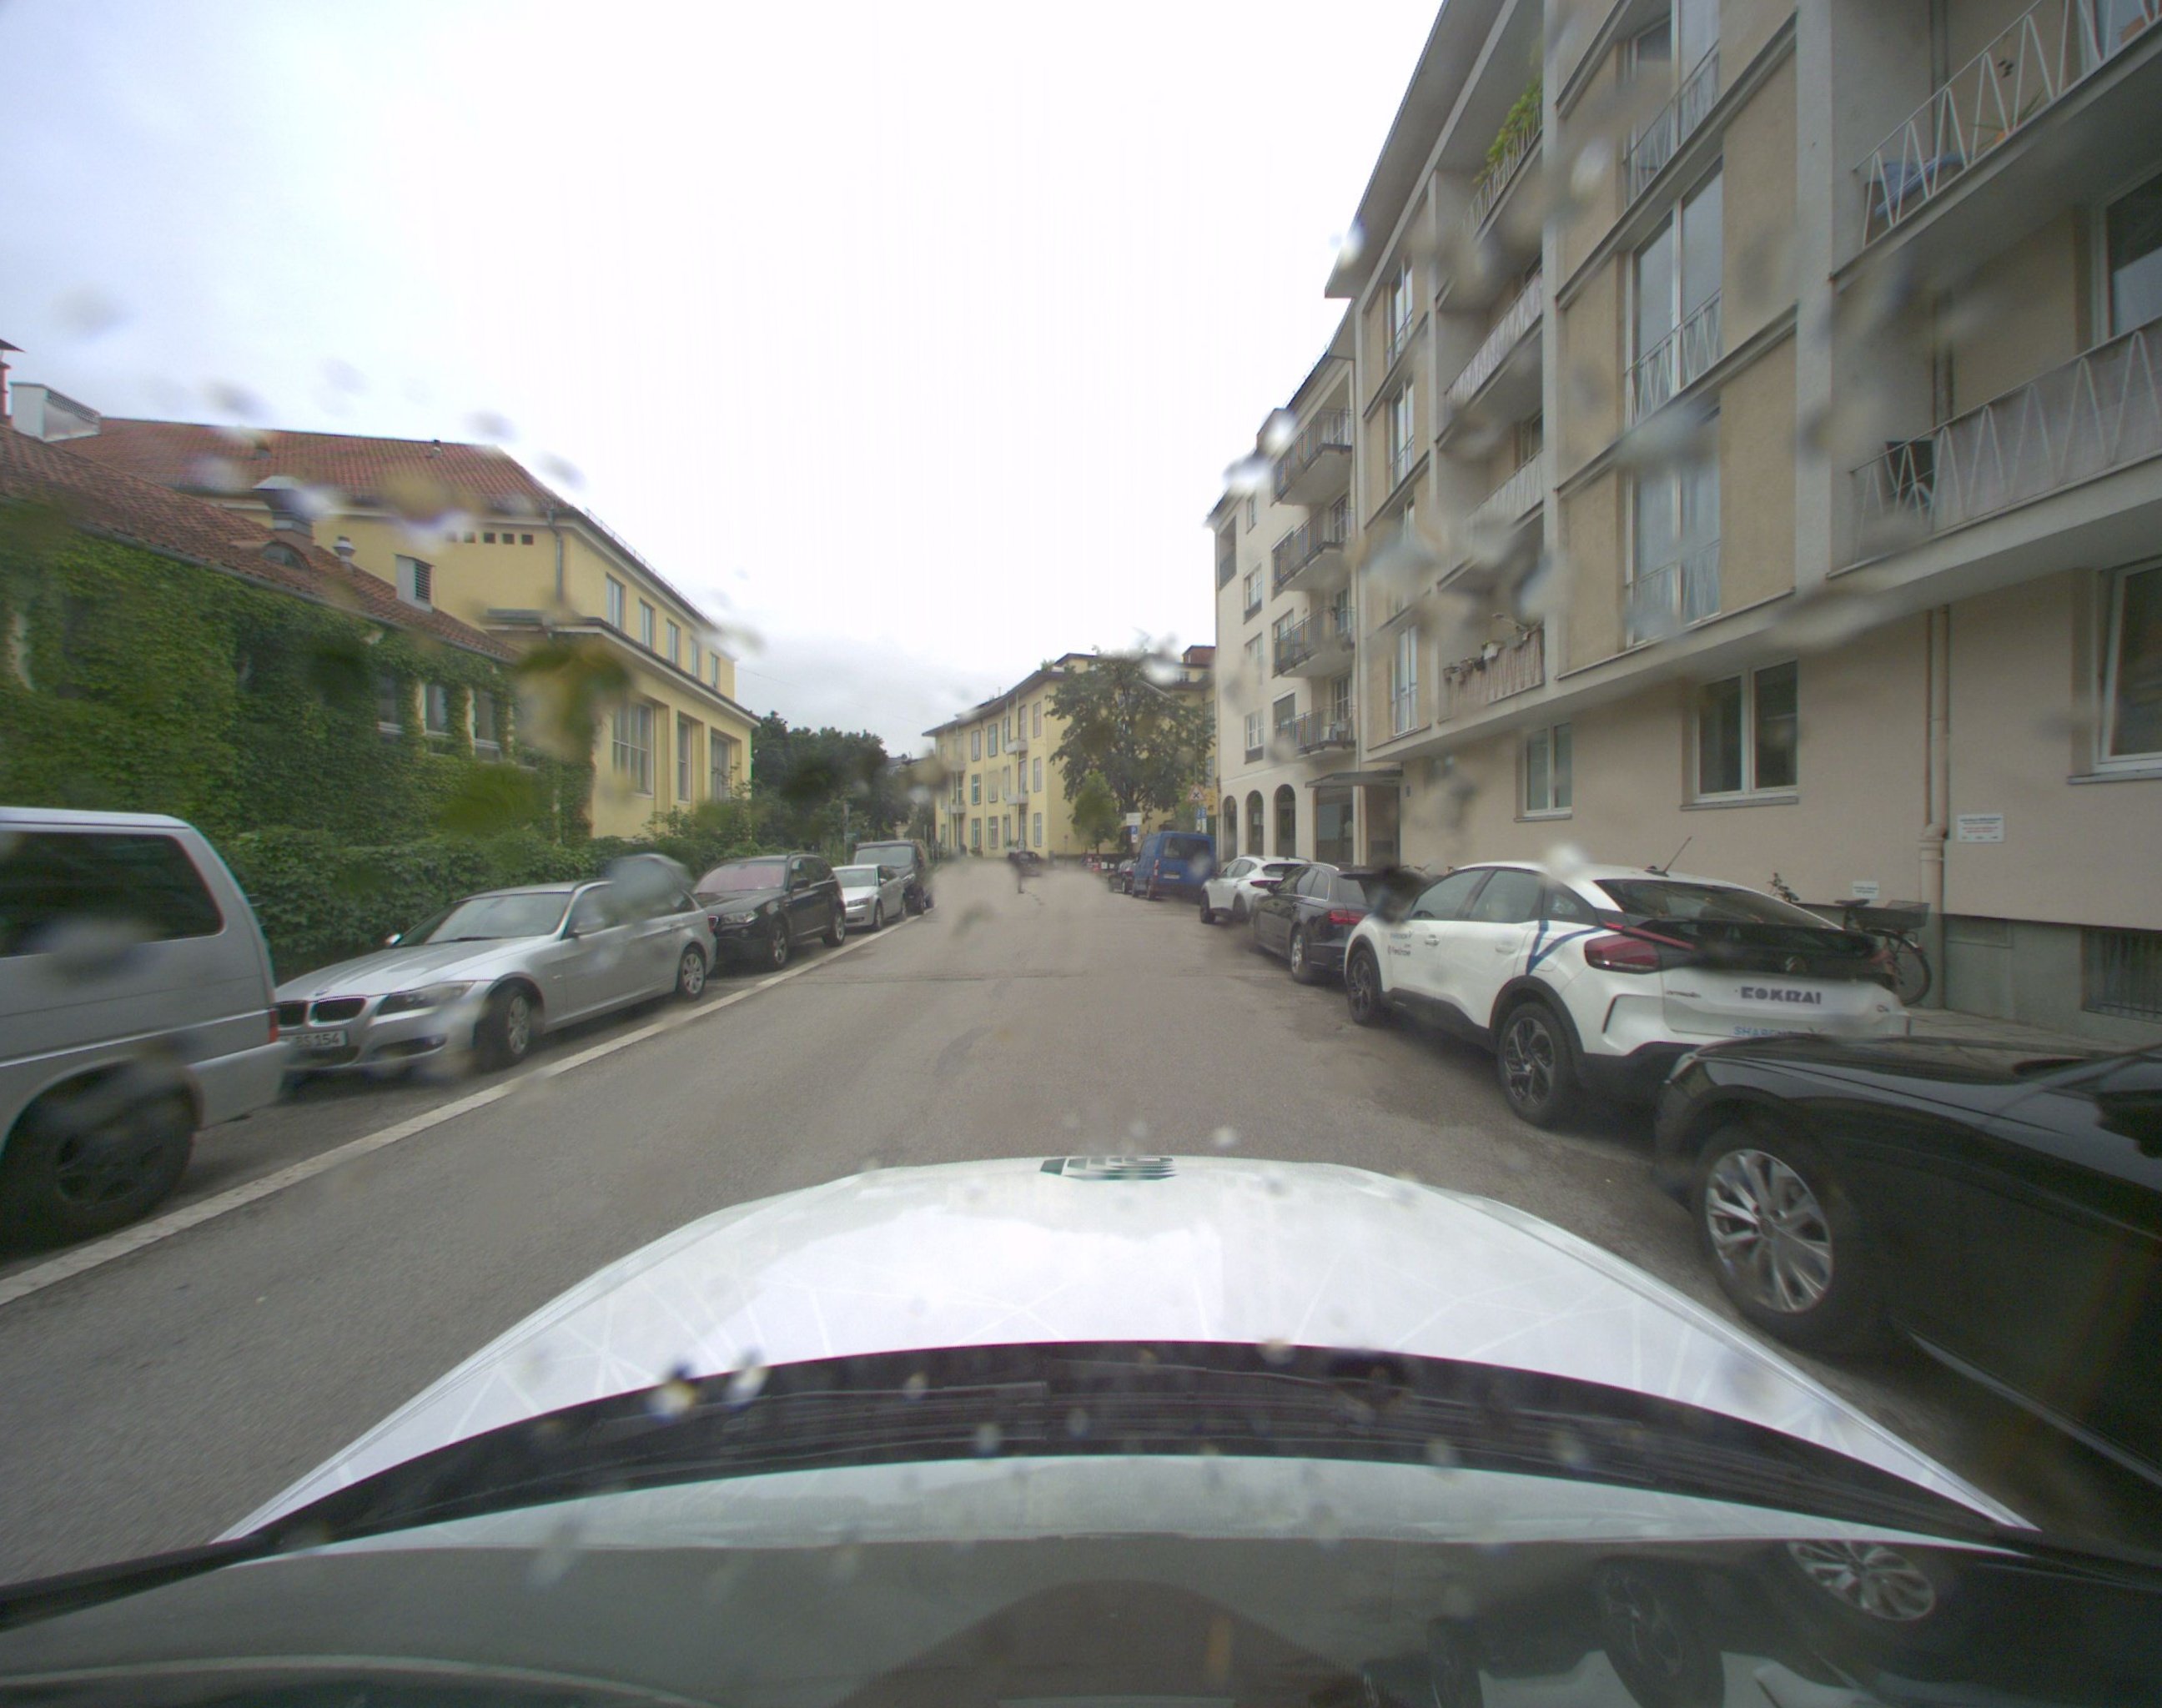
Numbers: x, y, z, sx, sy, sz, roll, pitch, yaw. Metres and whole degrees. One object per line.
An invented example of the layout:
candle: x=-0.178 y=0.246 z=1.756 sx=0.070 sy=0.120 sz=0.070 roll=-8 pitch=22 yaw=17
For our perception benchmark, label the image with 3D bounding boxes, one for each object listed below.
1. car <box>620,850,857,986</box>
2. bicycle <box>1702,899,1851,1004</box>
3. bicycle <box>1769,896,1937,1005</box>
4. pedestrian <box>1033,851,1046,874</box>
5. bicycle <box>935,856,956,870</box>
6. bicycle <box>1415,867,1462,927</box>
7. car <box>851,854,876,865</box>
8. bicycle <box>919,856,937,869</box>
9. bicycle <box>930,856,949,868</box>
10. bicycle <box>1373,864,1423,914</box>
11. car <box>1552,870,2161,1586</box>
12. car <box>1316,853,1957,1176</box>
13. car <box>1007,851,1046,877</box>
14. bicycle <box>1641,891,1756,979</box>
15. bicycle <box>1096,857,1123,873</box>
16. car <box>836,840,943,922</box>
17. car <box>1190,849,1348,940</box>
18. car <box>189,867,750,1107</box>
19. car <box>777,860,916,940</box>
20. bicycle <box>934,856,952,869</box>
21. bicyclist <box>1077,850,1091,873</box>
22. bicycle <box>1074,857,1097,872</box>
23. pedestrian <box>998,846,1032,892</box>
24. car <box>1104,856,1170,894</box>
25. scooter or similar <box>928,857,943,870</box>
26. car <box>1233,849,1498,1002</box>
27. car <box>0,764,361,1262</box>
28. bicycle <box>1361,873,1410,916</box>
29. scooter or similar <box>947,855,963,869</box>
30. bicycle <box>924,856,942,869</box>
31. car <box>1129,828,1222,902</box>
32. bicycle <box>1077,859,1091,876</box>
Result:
car: x=-4.990 y=0.812 z=12.646 sx=1.692 sy=1.643 sz=4.489 roll=-3 pitch=0 yaw=0
bicycle: x=7.097 y=0.959 z=8.384 sx=0.376 sy=0.905 sz=1.392 roll=0 pitch=0 yaw=2
bicycle: x=7.518 y=0.902 z=8.009 sx=0.376 sy=0.905 sz=1.392 roll=0 pitch=0 yaw=2
pedestrian: x=-3.308 y=0.703 z=65.061 sx=0.877 sy=1.823 sz=0.793 roll=0 pitch=0 yaw=-20
bicycle: x=-13.682 y=0.887 z=82.266 sx=0.725 sy=1.305 sz=2.169 roll=0 pitch=0 yaw=45
bicycle: x=7.194 y=0.846 z=16.426 sx=0.376 sy=1.119 sz=1.392 roll=0 pitch=0 yaw=2
car: x=-28.274 y=0.775 z=105.974 sx=2.007 sy=1.372 sz=3.959 roll=-1 pitch=0 yaw=-33
bicycle: x=-16.257 y=0.869 z=86.538 sx=0.725 sy=1.305 sz=2.169 roll=0 pitch=0 yaw=28
bicycle: x=-14.796 y=0.827 z=85.091 sx=0.725 sy=1.305 sz=2.169 roll=0 pitch=0 yaw=28
bicycle: x=7.684 y=0.821 z=19.802 sx=0.454 sy=1.110 sz=1.853 roll=0 pitch=0 yaw=-2
car: x=3.064 y=0.801 z=1.259 sx=1.740 sy=1.388 sz=4.952 roll=1 pitch=0 yaw=-1
car: x=3.341 y=0.775 z=6.201 sx=1.689 sy=1.489 sz=4.578 roll=2 pitch=0 yaw=-1
car: x=-4.379 y=0.737 z=64.859 sx=1.769 sy=1.874 sz=4.348 roll=4 pitch=-1 yaw=-21
bicycle: x=7.368 y=0.934 z=9.783 sx=0.376 sy=0.905 sz=1.392 roll=0 pitch=0 yaw=2
bicycle: x=2.227 y=0.859 z=64.585 sx=2.052 sy=1.201 sz=0.597 roll=0 pitch=0 yaw=14
car: x=-5.281 y=0.683 z=23.203 sx=2.069 sy=1.964 sz=5.341 roll=-3 pitch=0 yaw=-4
car: x=3.599 y=0.701 z=16.558 sx=1.782 sy=1.533 sz=4.641 roll=3 pitch=0 yaw=-4
car: x=-5.101 y=0.937 z=7.886 sx=1.647 sy=1.414 sz=4.772 roll=-4 pitch=0 yaw=2
car: x=-4.980 y=0.904 z=17.953 sx=1.689 sy=1.393 sz=4.500 roll=-3 pitch=0 yaw=0
bicycle: x=-14.279 y=0.836 z=84.305 sx=0.725 sy=1.305 sz=2.169 roll=0 pitch=0 yaw=28
bicyclist: x=0.192 y=0.517 z=56.488 sx=0.863 sy=1.607 sz=0.944 roll=0 pitch=-1 yaw=-9
bicycle: x=0.362 y=0.817 z=65.782 sx=1.903 sy=1.201 sz=0.599 roll=0 pitch=0 yaw=37
pedestrian: x=-2.676 y=0.623 z=32.828 sx=0.923 sy=1.801 sz=0.962 roll=-4 pitch=-4 yaw=43
car: x=2.287 y=0.846 z=34.409 sx=1.677 sy=1.389 sz=4.289 roll=3 pitch=-1 yaw=-11
scooter or similar: x=-15.258 y=1.011 z=85.408 sx=0.725 sy=1.305 sz=1.740 roll=0 pitch=0 yaw=24
car: x=3.505 y=0.746 z=11.234 sx=1.873 sy=1.522 sz=5.164 roll=3 pitch=0 yaw=1
car: x=-5.104 y=0.653 z=2.182 sx=1.880 sy=1.889 sz=4.776 roll=-3 pitch=0 yaw=2
bicycle: x=7.152 y=0.928 z=19.188 sx=0.454 sy=0.923 sz=1.734 roll=0 pitch=0 yaw=-2
scooter or similar: x=-12.617 y=0.783 z=81.502 sx=0.726 sy=1.305 sz=2.165 roll=0 pitch=0 yaw=16
bicycle: x=-15.629 y=0.894 z=85.930 sx=0.725 sy=1.305 sz=2.169 roll=0 pitch=0 yaw=28
car: x=3.130 y=0.389 z=28.252 sx=2.076 sy=2.234 sz=5.235 roll=4 pitch=-1 yaw=-5
bicycle: x=0.214 y=0.946 z=56.351 sx=0.670 sy=1.159 sz=1.997 roll=0 pitch=0 yaw=-8
